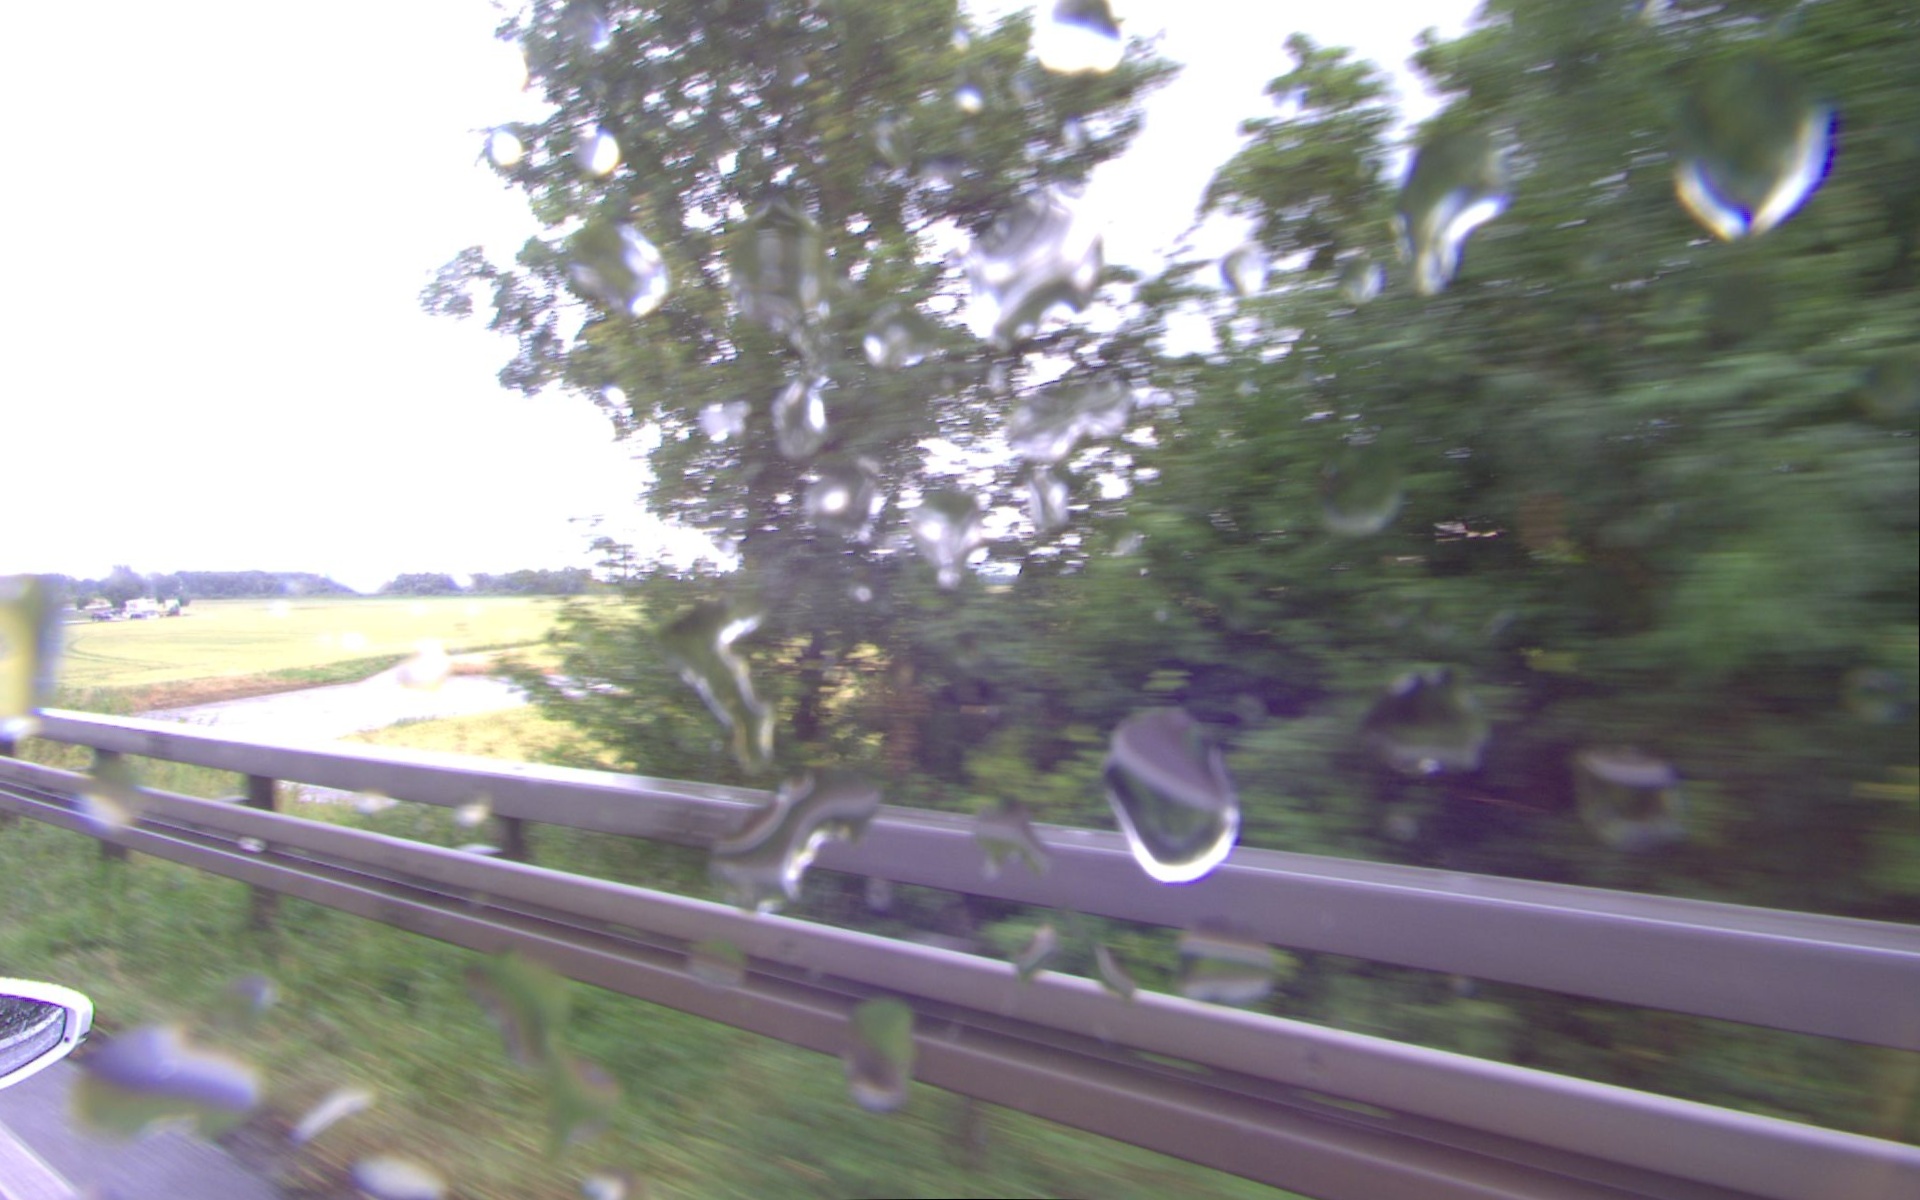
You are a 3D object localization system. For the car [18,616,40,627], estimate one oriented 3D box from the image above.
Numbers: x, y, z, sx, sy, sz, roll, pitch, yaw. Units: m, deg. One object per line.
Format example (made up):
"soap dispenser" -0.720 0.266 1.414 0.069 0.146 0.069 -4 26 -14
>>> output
"car" -161.249 3.712 173.486 1.797 1.861 3.973 0 -2 -27

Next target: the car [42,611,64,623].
"car" -164.021 3.145 181.085 1.969 2.039 3.985 0 -2 -26
